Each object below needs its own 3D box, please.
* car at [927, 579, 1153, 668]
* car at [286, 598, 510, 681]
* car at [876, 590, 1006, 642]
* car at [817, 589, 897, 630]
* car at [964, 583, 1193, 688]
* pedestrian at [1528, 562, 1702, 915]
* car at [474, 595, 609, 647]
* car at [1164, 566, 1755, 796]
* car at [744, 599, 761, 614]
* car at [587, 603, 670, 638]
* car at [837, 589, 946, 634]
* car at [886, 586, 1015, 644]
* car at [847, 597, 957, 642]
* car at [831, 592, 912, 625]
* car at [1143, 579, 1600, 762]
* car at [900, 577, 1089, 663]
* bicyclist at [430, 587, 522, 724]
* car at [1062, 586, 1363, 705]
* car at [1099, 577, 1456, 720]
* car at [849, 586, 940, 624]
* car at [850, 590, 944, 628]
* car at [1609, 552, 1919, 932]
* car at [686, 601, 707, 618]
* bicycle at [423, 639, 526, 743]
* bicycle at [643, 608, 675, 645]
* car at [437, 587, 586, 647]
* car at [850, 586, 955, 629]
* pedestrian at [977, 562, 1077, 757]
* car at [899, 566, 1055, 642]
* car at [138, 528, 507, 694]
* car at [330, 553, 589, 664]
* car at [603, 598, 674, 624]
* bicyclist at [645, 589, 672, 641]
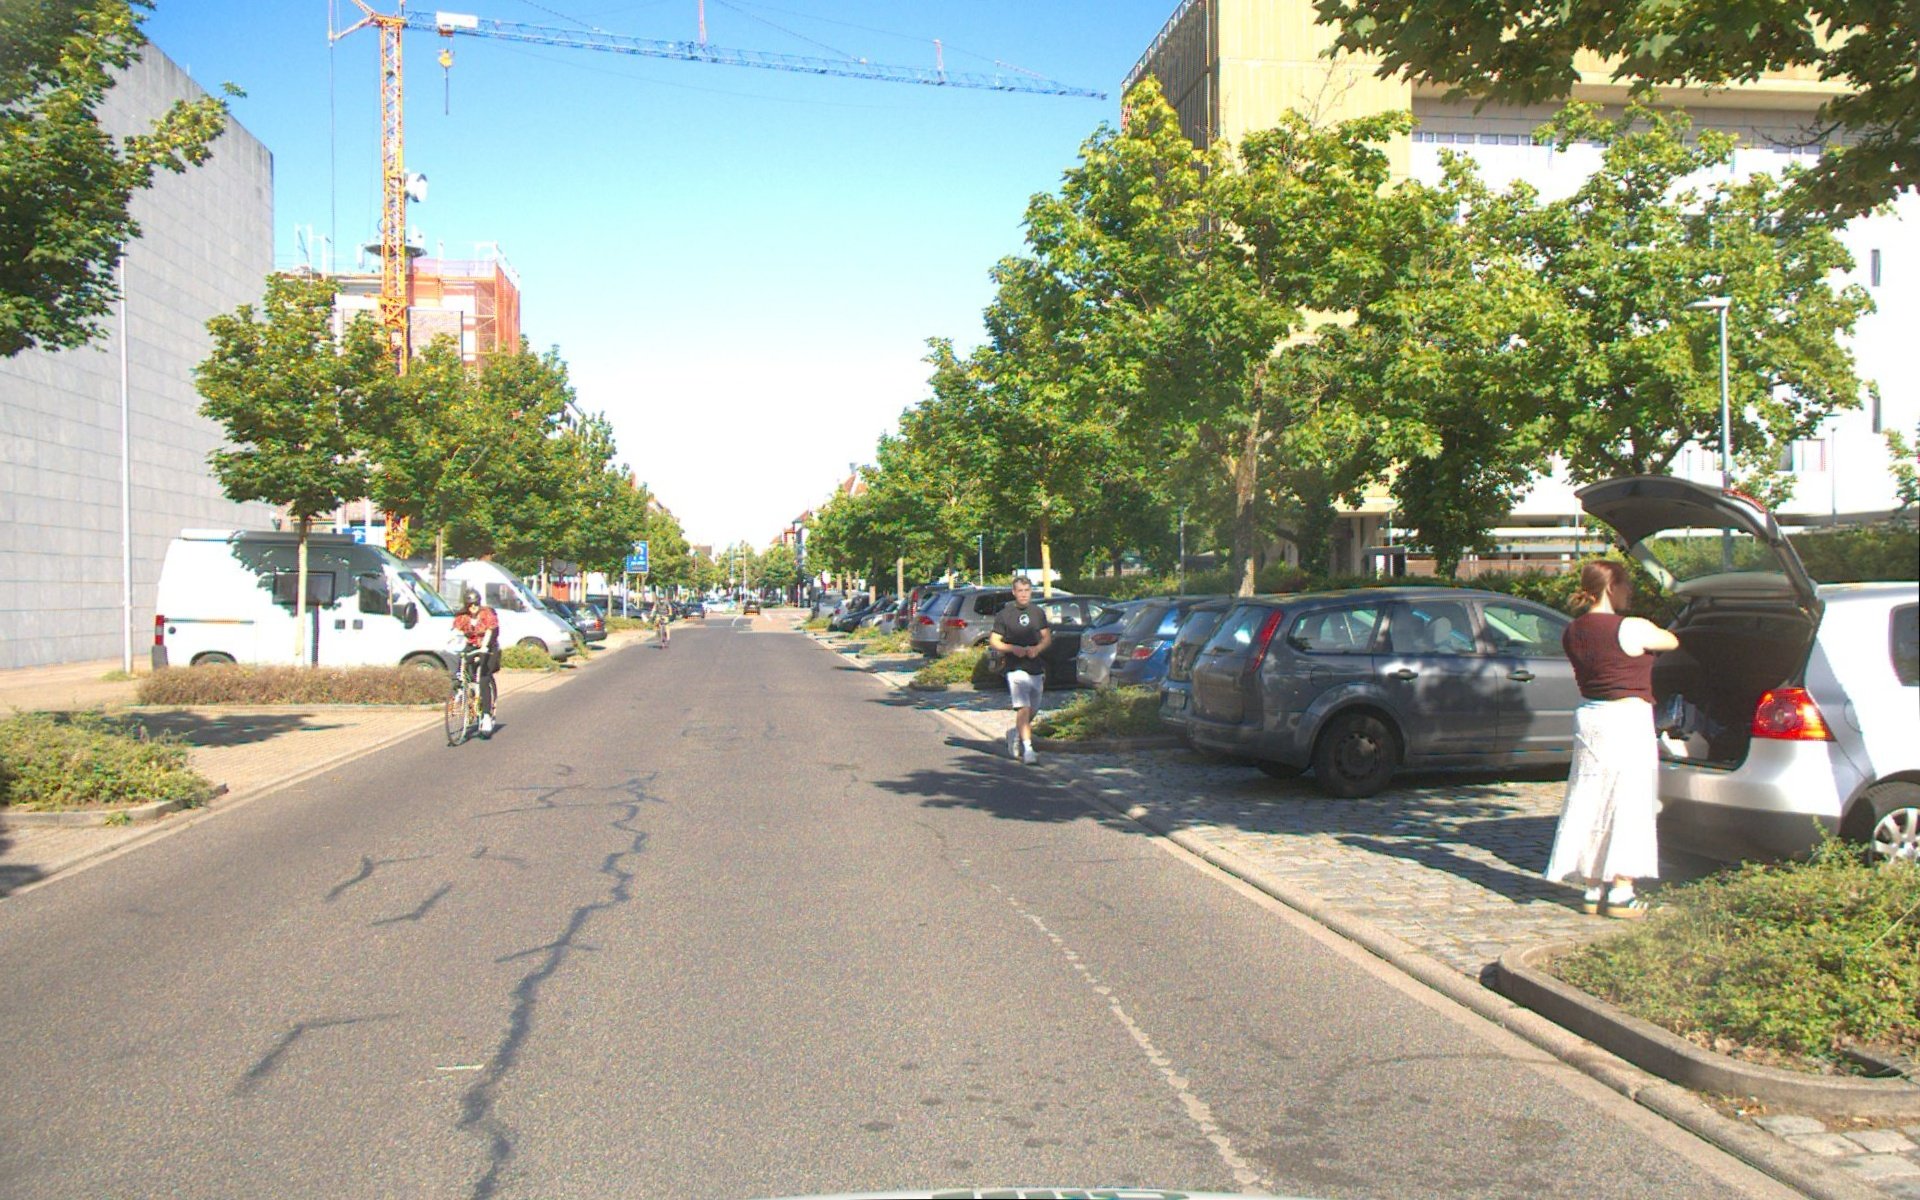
[{"bbox_3d":[1.589,0.452,33.560,4.243,1.636,1.907,-2,0,-11],"label":"car"},{"bbox_3d":[-10.854,0.748,32.147,3.756,1.497,1.846,1,0,-6],"label":"car"},{"bbox_3d":[-0.631,0.505,52.782,3.984,1.450,1.739,-2,0,-6],"label":"car"},{"bbox_3d":[-5.164,0.463,82.662,3.911,1.912,1.680,-1,0,-7],"label":"car"},{"bbox_3d":[1.895,0.564,27.007,3.390,1.515,1.743,-2,-1,-10],"label":"car"},{"bbox_3d":[3.141,0.622,7.968,0.748,1.606,0.674,0,1,21],"label":"pedestrian"},{"bbox_3d":[-13.358,0.661,52.988,4.056,1.518,1.864,1,1,-11],"label":"car"},{"bbox_3d":[3.851,0.568,13.048,4.109,1.546,1.733,-2,0,-10],"label":"car"},{"bbox_3d":[-22.753,0.712,181.444,1.777,1.500,4.105,-1,1,-6],"label":"car"},{"bbox_3d":[-17.404,1.050,87.052,4.182,1.694,1.596,-1,1,-9],"label":"car"},{"bbox_3d":[-2.693,0.422,64.809,4.067,1.607,1.737,-2,1,-9],"label":"car"},{"bbox_3d":[-0.297,0.421,48.286,3.540,1.576,1.703,-1,1,-10],"label":"car"},{"bbox_3d":[-2.117,0.695,59.871,3.828,1.512,1.739,-1,0,-9],"label":"car"},{"bbox_3d":[-4.230,0.414,78.837,3.695,1.485,1.814,-1,0,-8],"label":"car"},{"bbox_3d":[3.777,0.598,15.431,3.828,1.493,1.618,-1,1,-10],"label":"car"},{"bbox_3d":[0.718,0.404,36.014,3.828,1.725,1.936,-1,1,-10],"label":"car"},{"bbox_3d":[-5.425,0.599,18.608,0.743,1.456,1.130,-2,0,-6],"label":"bicyclist"},{"bbox_3d":[3.345,0.580,22.358,3.661,1.441,1.840,-1,0,-6],"label":"car"},{"bbox_3d":[3.731,0.540,19.826,3.820,1.524,1.840,-1,0,-6],"label":"car"},{"bbox_3d":[-2.970,0.231,74.332,3.911,1.609,2.028,-1,0,-7],"label":"car"},{"bbox_3d":[-2.757,0.386,71.740,3.911,1.565,1.858,-1,-1,-7],"label":"car"},{"bbox_3d":[5.445,0.562,8.227,3.828,1.605,1.676,-1,1,-10],"label":"car"},{"bbox_3d":[-24.612,0.882,154.505,1.778,1.500,4.103,-1,1,-8],"label":"car"},{"bbox_3d":[-5.422,0.994,18.577,0.743,1.020,1.869,-2,0,-6],"label":"bicycle"},{"bbox_3d":[-9.664,0.849,53.130,0.684,1.130,2.078,-2,0,-3],"label":"bicycle"},{"bbox_3d":[-13.166,0.492,48.752,3.909,1.693,1.826,1,0,-5],"label":"car"},{"bbox_3d":[-2.190,0.266,62.581,3.792,1.531,1.648,-1,0,-10],"label":"car"},{"bbox_3d":[0.638,0.560,16.185,0.705,1.802,1.166,-2,0,-9],"label":"pedestrian"},{"bbox_3d":[0.444,0.074,45.815,4.043,1.961,1.974,-1,1,-10],"label":"car"},{"bbox_3d":[-10.199,0.182,26.858,5.148,2.461,2.120,1,0,-7],"label":"car"},{"bbox_3d":[-11.594,0.189,38.629,5.444,2.452,1.985,1,0,-6],"label":"car"},{"bbox_3d":[-19.797,0.653,101.949,4.254,1.500,1.813,-1,1,-11],"label":"car"},{"bbox_3d":[-9.678,0.475,53.183,0.670,1.608,1.060,-2,0,-3],"label":"bicyclist"}]
